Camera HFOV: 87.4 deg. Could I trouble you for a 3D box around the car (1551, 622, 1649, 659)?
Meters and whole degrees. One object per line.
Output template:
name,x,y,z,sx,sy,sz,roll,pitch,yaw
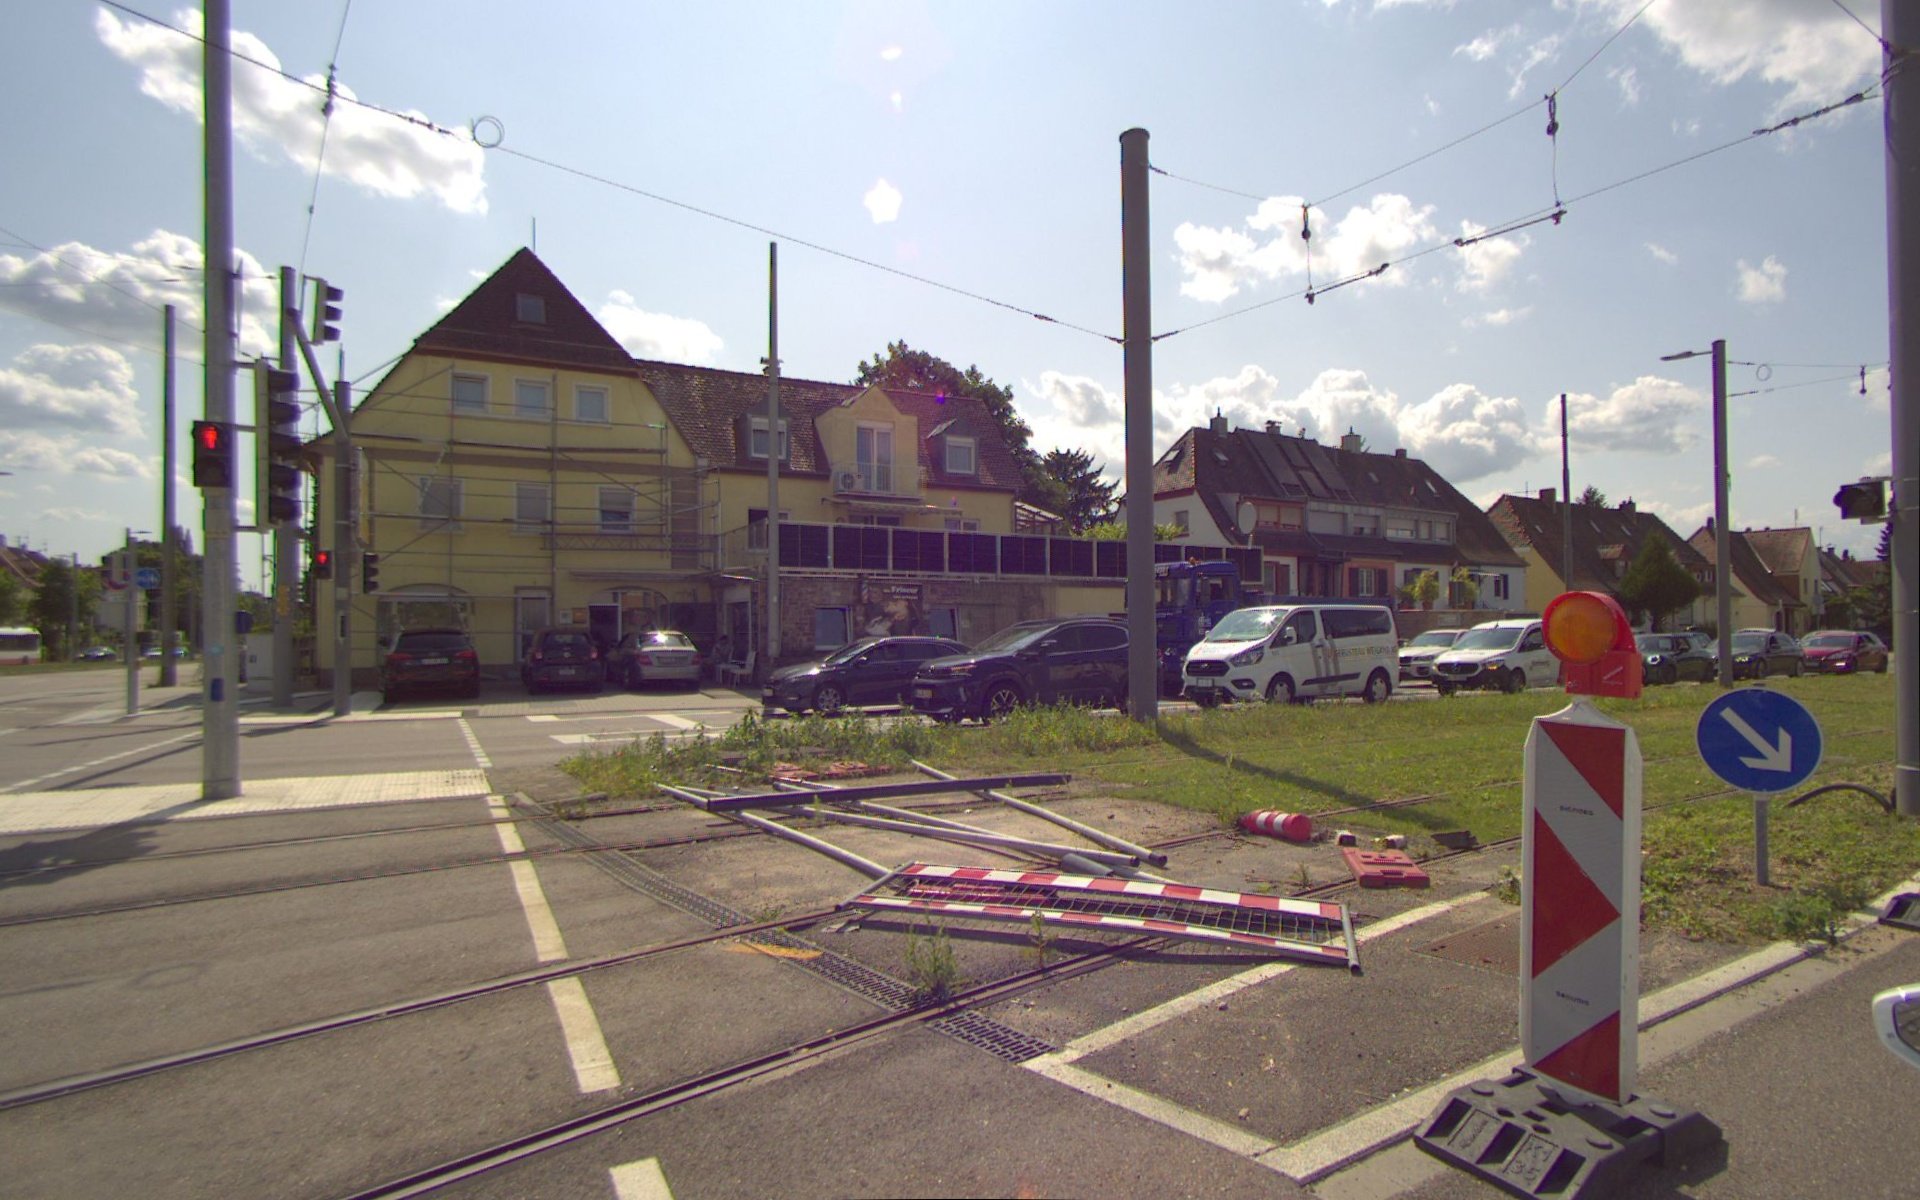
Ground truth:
car,33.277,2.076,52.305,1.588,1.512,3.927,1,3,-34

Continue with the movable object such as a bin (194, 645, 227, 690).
movable object such as a bin,-22.052,1.966,29.563,0.673,1.277,0.678,0,-1,-29

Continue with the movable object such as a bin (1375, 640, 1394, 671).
movable object such as a bin,16.531,2.152,39.145,0.569,1.200,0.442,1,-2,-37

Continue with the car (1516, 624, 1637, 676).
car,21.194,1.691,34.477,4.459,1.691,1.832,1,-2,-34

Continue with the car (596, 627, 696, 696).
car,-8.111,1.500,25.722,1.419,1.513,4.110,0,0,-33

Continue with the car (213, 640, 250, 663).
car,-68.477,4.814,94.458,1.972,2.040,3.978,0,-2,-23

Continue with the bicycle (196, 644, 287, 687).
bicycle,-24.543,2.224,34.384,2.424,1.374,0.771,0,-1,-25

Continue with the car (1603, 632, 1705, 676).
car,25.526,1.951,36.928,3.615,1.513,1.833,1,-2,-33

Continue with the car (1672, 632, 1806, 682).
car,24.188,1.731,31.150,4.865,1.432,1.832,1,-2,-34

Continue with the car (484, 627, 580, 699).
car,-10.497,1.456,24.506,1.491,1.513,4.110,0,0,-33

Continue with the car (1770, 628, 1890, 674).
car,30.118,1.723,34.734,4.803,1.513,1.833,1,-2,-33

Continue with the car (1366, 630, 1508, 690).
car,14.580,1.780,30.623,4.388,1.681,1.834,1,-2,-32

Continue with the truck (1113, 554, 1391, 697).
truck,7.681,0.678,25.991,7.504,3.230,2.752,1,-2,-34

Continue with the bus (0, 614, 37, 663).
bus,-76.978,3.072,80.042,2.373,3.826,11.928,0,-2,-30

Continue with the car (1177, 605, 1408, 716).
car,6.565,1.116,19.658,4.699,1.947,1.803,1,-2,-34

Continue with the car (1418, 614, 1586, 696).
car,13.056,1.279,24.129,4.359,1.805,1.722,1,-2,-34

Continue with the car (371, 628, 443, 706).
car,-12.676,1.446,22.926,1.166,1.513,4.110,0,0,-33

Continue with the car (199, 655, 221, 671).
car,-103.999,8.750,139.307,1.976,2.040,3.970,0,-2,-29

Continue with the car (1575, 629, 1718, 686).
car,18.828,1.528,27.523,3.958,1.437,1.904,1,-2,-34

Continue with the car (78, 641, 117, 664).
car,-80.444,4.878,93.725,1.977,2.040,3.968,0,-2,-30

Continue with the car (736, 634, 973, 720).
car,-2.035,1.433,19.731,4.284,1.506,1.819,1,-2,-31

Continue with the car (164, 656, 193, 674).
car,-94.597,7.866,121.630,1.973,2.040,3.975,0,-2,-26

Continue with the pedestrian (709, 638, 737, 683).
pedestrian,-6.620,1.678,28.053,0.570,1.236,0.602,0,0,-42

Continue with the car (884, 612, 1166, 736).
car,1.113,1.108,16.365,4.392,1.743,1.777,0,-2,-32

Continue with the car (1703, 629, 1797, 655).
car,48.100,2.550,61.195,1.969,1.486,4.086,1,-2,-32

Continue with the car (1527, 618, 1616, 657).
car,30.537,1.843,50.246,1.588,1.616,3.363,1,3,-34
